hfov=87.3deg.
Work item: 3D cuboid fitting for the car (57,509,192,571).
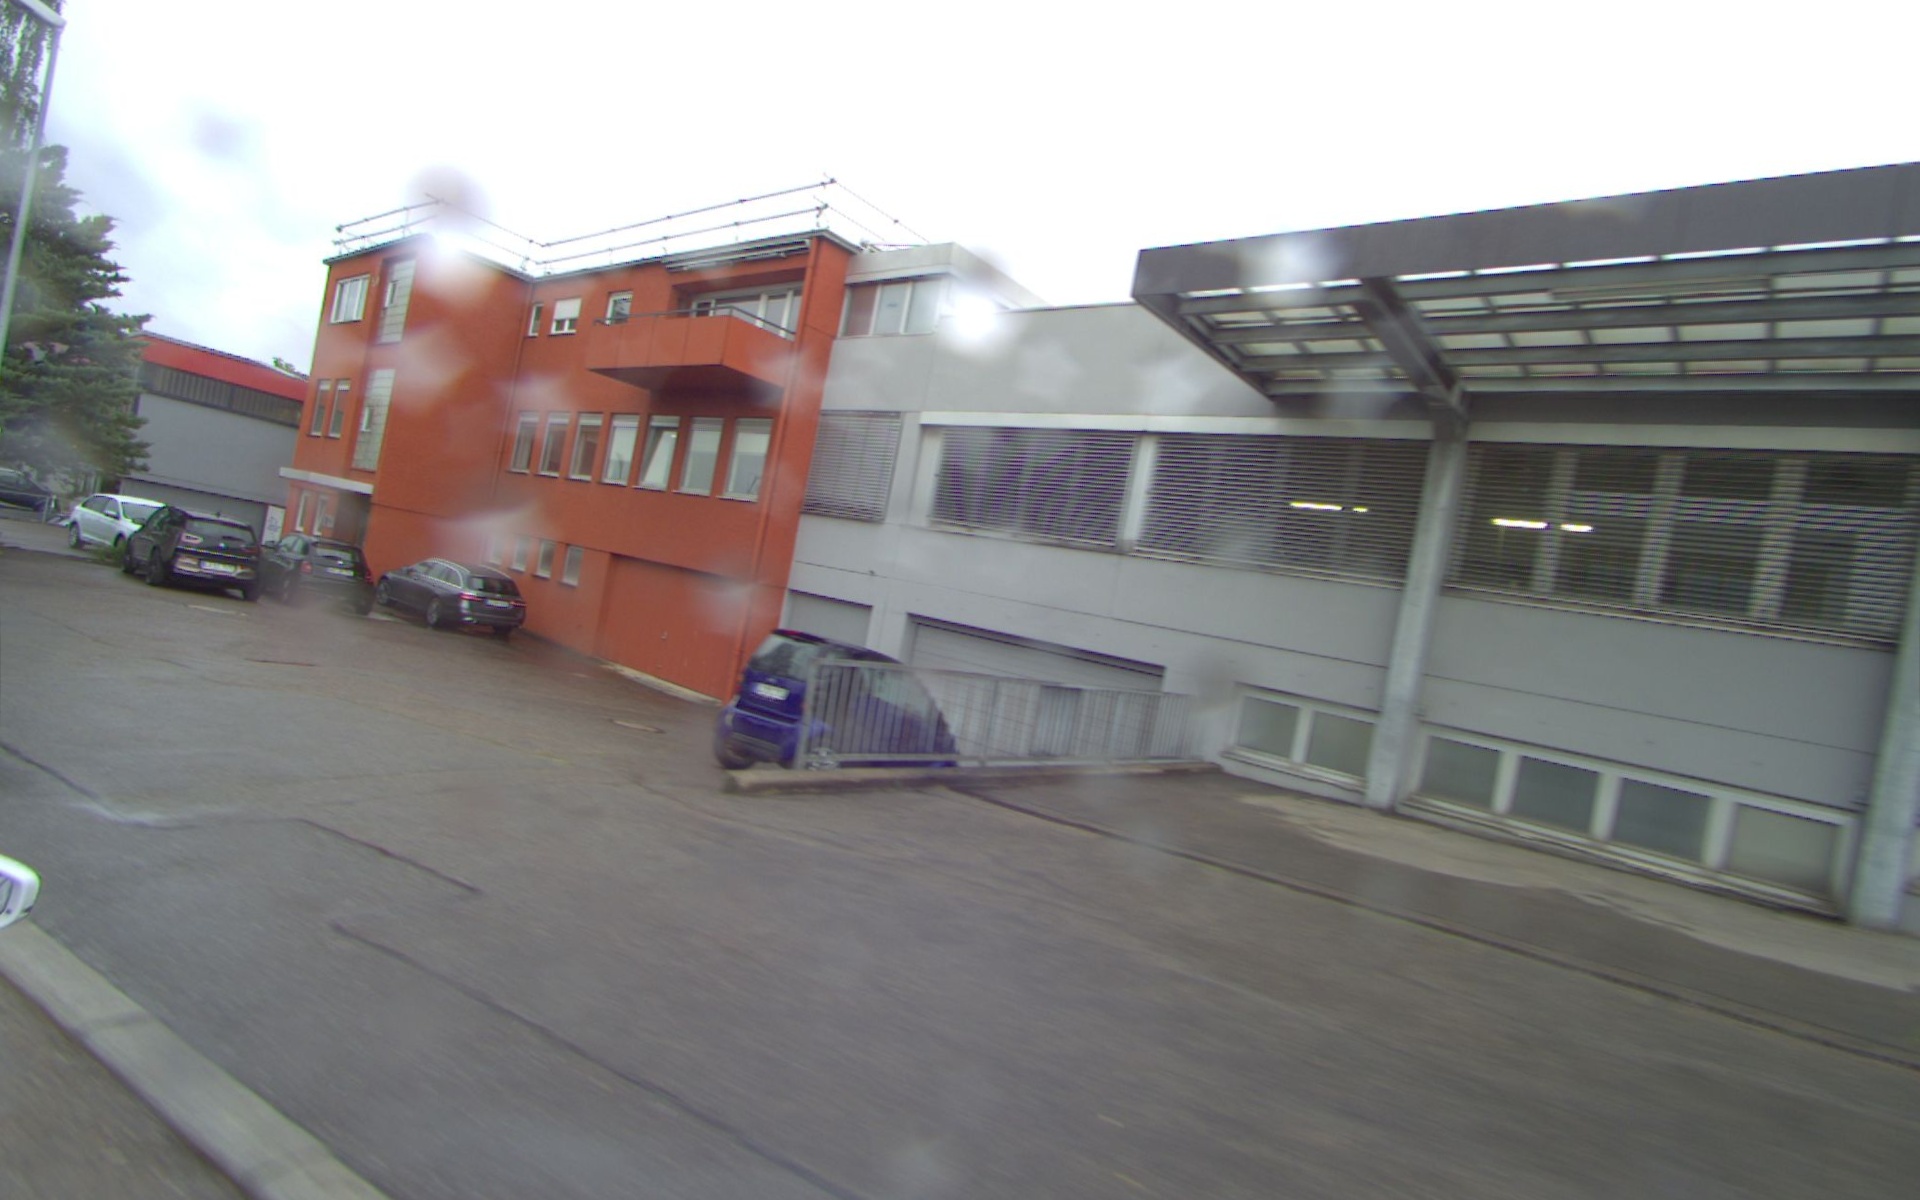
[{"bbox_3d":[-27.606,-1.977,33.299,1.604,1.513,3.036,8,-1,36],"label":"car"}]

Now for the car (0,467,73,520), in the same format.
[{"bbox_3d":[-32.357,-3.738,34.389,1.653,1.464,2.711,8,-1,39],"label":"car"}]

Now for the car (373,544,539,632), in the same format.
[{"bbox_3d":[-12.320,-0.330,24.471,4.449,1.465,1.970,8,-3,42],"label":"car"}]

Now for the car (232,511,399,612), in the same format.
[{"bbox_3d":[-14.645,-0.904,22.766,4.450,1.698,1.988,7,-2,43],"label":"car"}]

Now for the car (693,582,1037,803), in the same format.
[{"bbox_3d":[-0.893,1.095,11.038,1.595,1.510,3.450,9,-10,39],"label":"car"}]

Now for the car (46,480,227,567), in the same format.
[{"bbox_3d":[-20.323,-1.887,24.807,4.254,1.488,1.908,8,0,29],"label":"car"}]

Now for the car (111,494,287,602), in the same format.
[{"bbox_3d":[-15.718,-1.106,20.685,4.450,1.596,1.995,7,-3,43],"label":"car"}]
